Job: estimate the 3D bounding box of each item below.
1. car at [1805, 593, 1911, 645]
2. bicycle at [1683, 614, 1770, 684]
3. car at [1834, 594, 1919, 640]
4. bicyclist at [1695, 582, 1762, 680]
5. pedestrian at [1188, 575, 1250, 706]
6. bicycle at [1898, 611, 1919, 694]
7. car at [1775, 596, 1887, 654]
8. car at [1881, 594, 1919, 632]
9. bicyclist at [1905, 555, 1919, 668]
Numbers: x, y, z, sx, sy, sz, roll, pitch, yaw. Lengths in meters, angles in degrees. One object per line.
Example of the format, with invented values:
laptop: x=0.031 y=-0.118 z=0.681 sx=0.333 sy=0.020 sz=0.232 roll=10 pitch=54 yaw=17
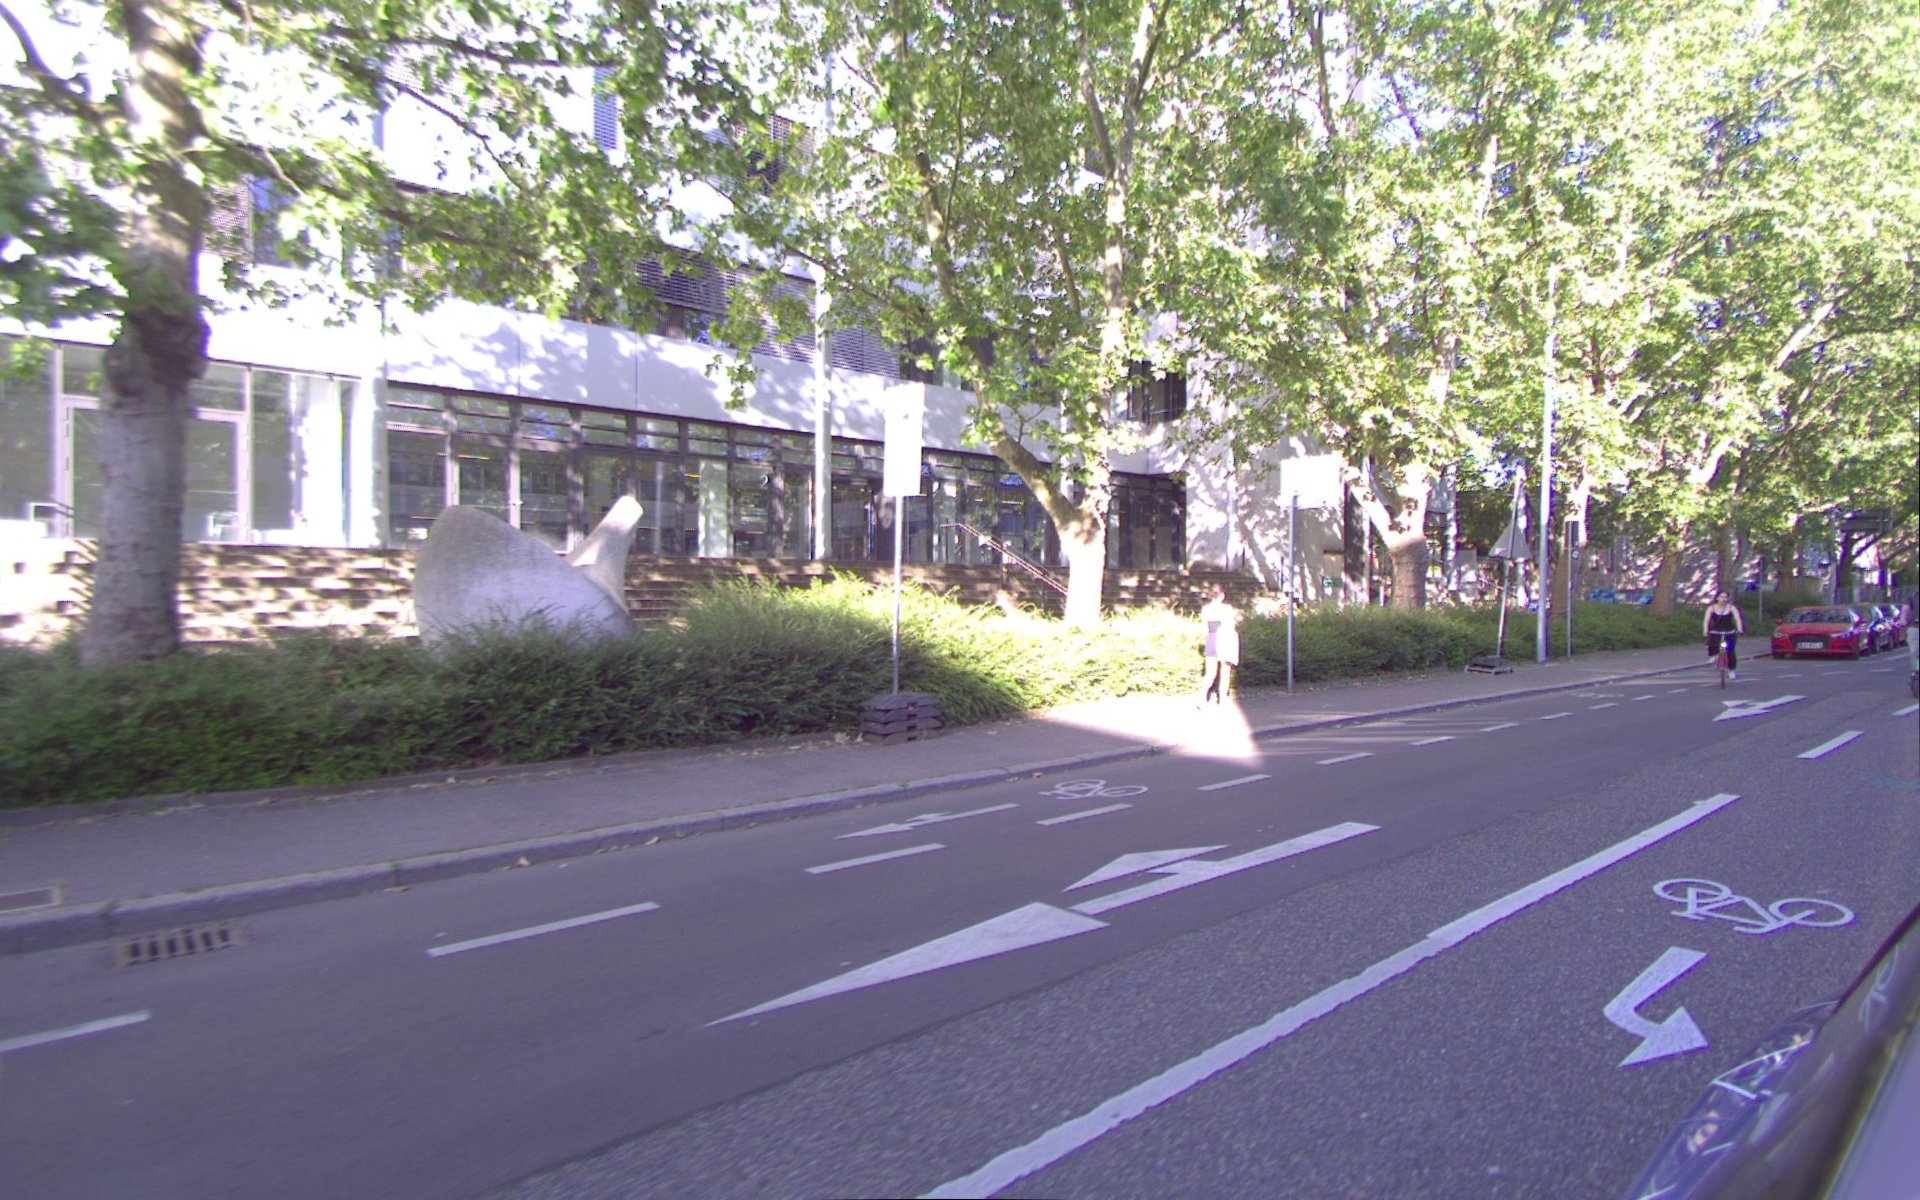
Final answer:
car: x=27.394 y=0.535 z=30.840 sx=4.005 sy=1.466 sz=1.897 roll=0 pitch=0 yaw=-40
bicycle: x=13.705 y=0.831 z=18.057 sx=2.767 sy=1.150 sz=0.769 roll=1 pitch=-1 yaw=-43
car: x=31.413 y=0.530 z=34.458 sx=4.005 sy=1.469 sz=1.897 roll=0 pitch=0 yaw=-40
bicyclist: x=13.801 y=0.544 z=18.178 sx=0.880 sy=1.701 sz=0.769 roll=-1 pitch=-1 yaw=-42
pedestrian: x=3.286 y=0.495 z=12.842 sx=0.671 sy=1.614 sz=0.462 roll=-1 pitch=0 yaw=-42
bicycle: x=15.310 y=0.786 z=15.762 sx=2.768 sy=1.150 sz=0.769 roll=-2 pitch=-1 yaw=-42
car: x=23.922 y=0.617 z=27.764 sx=4.008 sy=1.461 sz=1.896 roll=0 pitch=0 yaw=-43
car: x=38.419 y=0.489 z=40.460 sx=4.005 sy=1.469 sz=1.897 roll=0 pitch=0 yaw=-40
bicyclist: x=15.345 y=0.170 z=15.806 sx=0.885 sy=1.755 sz=0.769 roll=-1 pitch=0 yaw=-42
